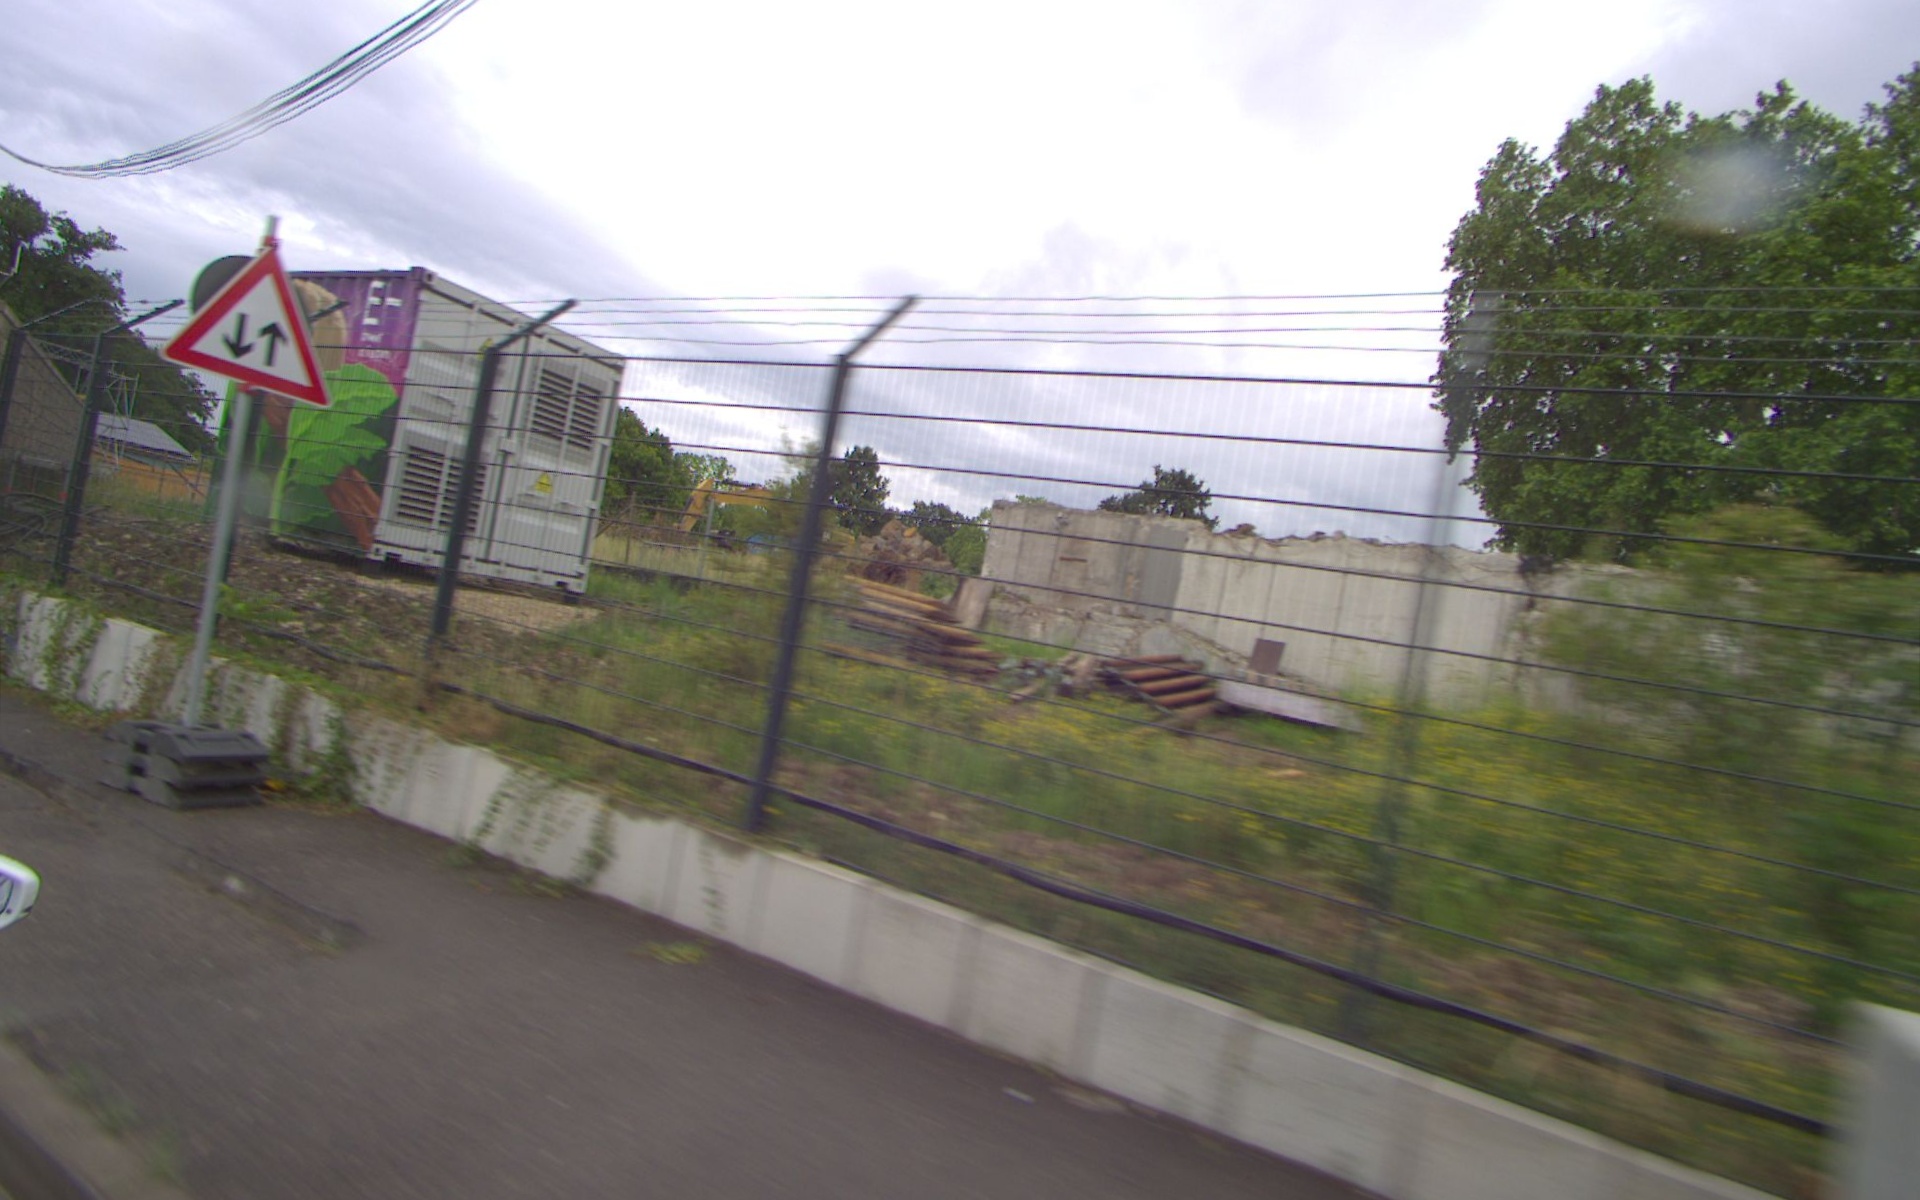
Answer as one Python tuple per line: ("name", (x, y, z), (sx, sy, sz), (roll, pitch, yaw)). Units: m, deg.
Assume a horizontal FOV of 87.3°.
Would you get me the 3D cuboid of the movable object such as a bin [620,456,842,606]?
("movable object such as a bin", (-12.018, -3.478, 54.301), (3.442, 6.064, 11.227), (7, -2, 41))
